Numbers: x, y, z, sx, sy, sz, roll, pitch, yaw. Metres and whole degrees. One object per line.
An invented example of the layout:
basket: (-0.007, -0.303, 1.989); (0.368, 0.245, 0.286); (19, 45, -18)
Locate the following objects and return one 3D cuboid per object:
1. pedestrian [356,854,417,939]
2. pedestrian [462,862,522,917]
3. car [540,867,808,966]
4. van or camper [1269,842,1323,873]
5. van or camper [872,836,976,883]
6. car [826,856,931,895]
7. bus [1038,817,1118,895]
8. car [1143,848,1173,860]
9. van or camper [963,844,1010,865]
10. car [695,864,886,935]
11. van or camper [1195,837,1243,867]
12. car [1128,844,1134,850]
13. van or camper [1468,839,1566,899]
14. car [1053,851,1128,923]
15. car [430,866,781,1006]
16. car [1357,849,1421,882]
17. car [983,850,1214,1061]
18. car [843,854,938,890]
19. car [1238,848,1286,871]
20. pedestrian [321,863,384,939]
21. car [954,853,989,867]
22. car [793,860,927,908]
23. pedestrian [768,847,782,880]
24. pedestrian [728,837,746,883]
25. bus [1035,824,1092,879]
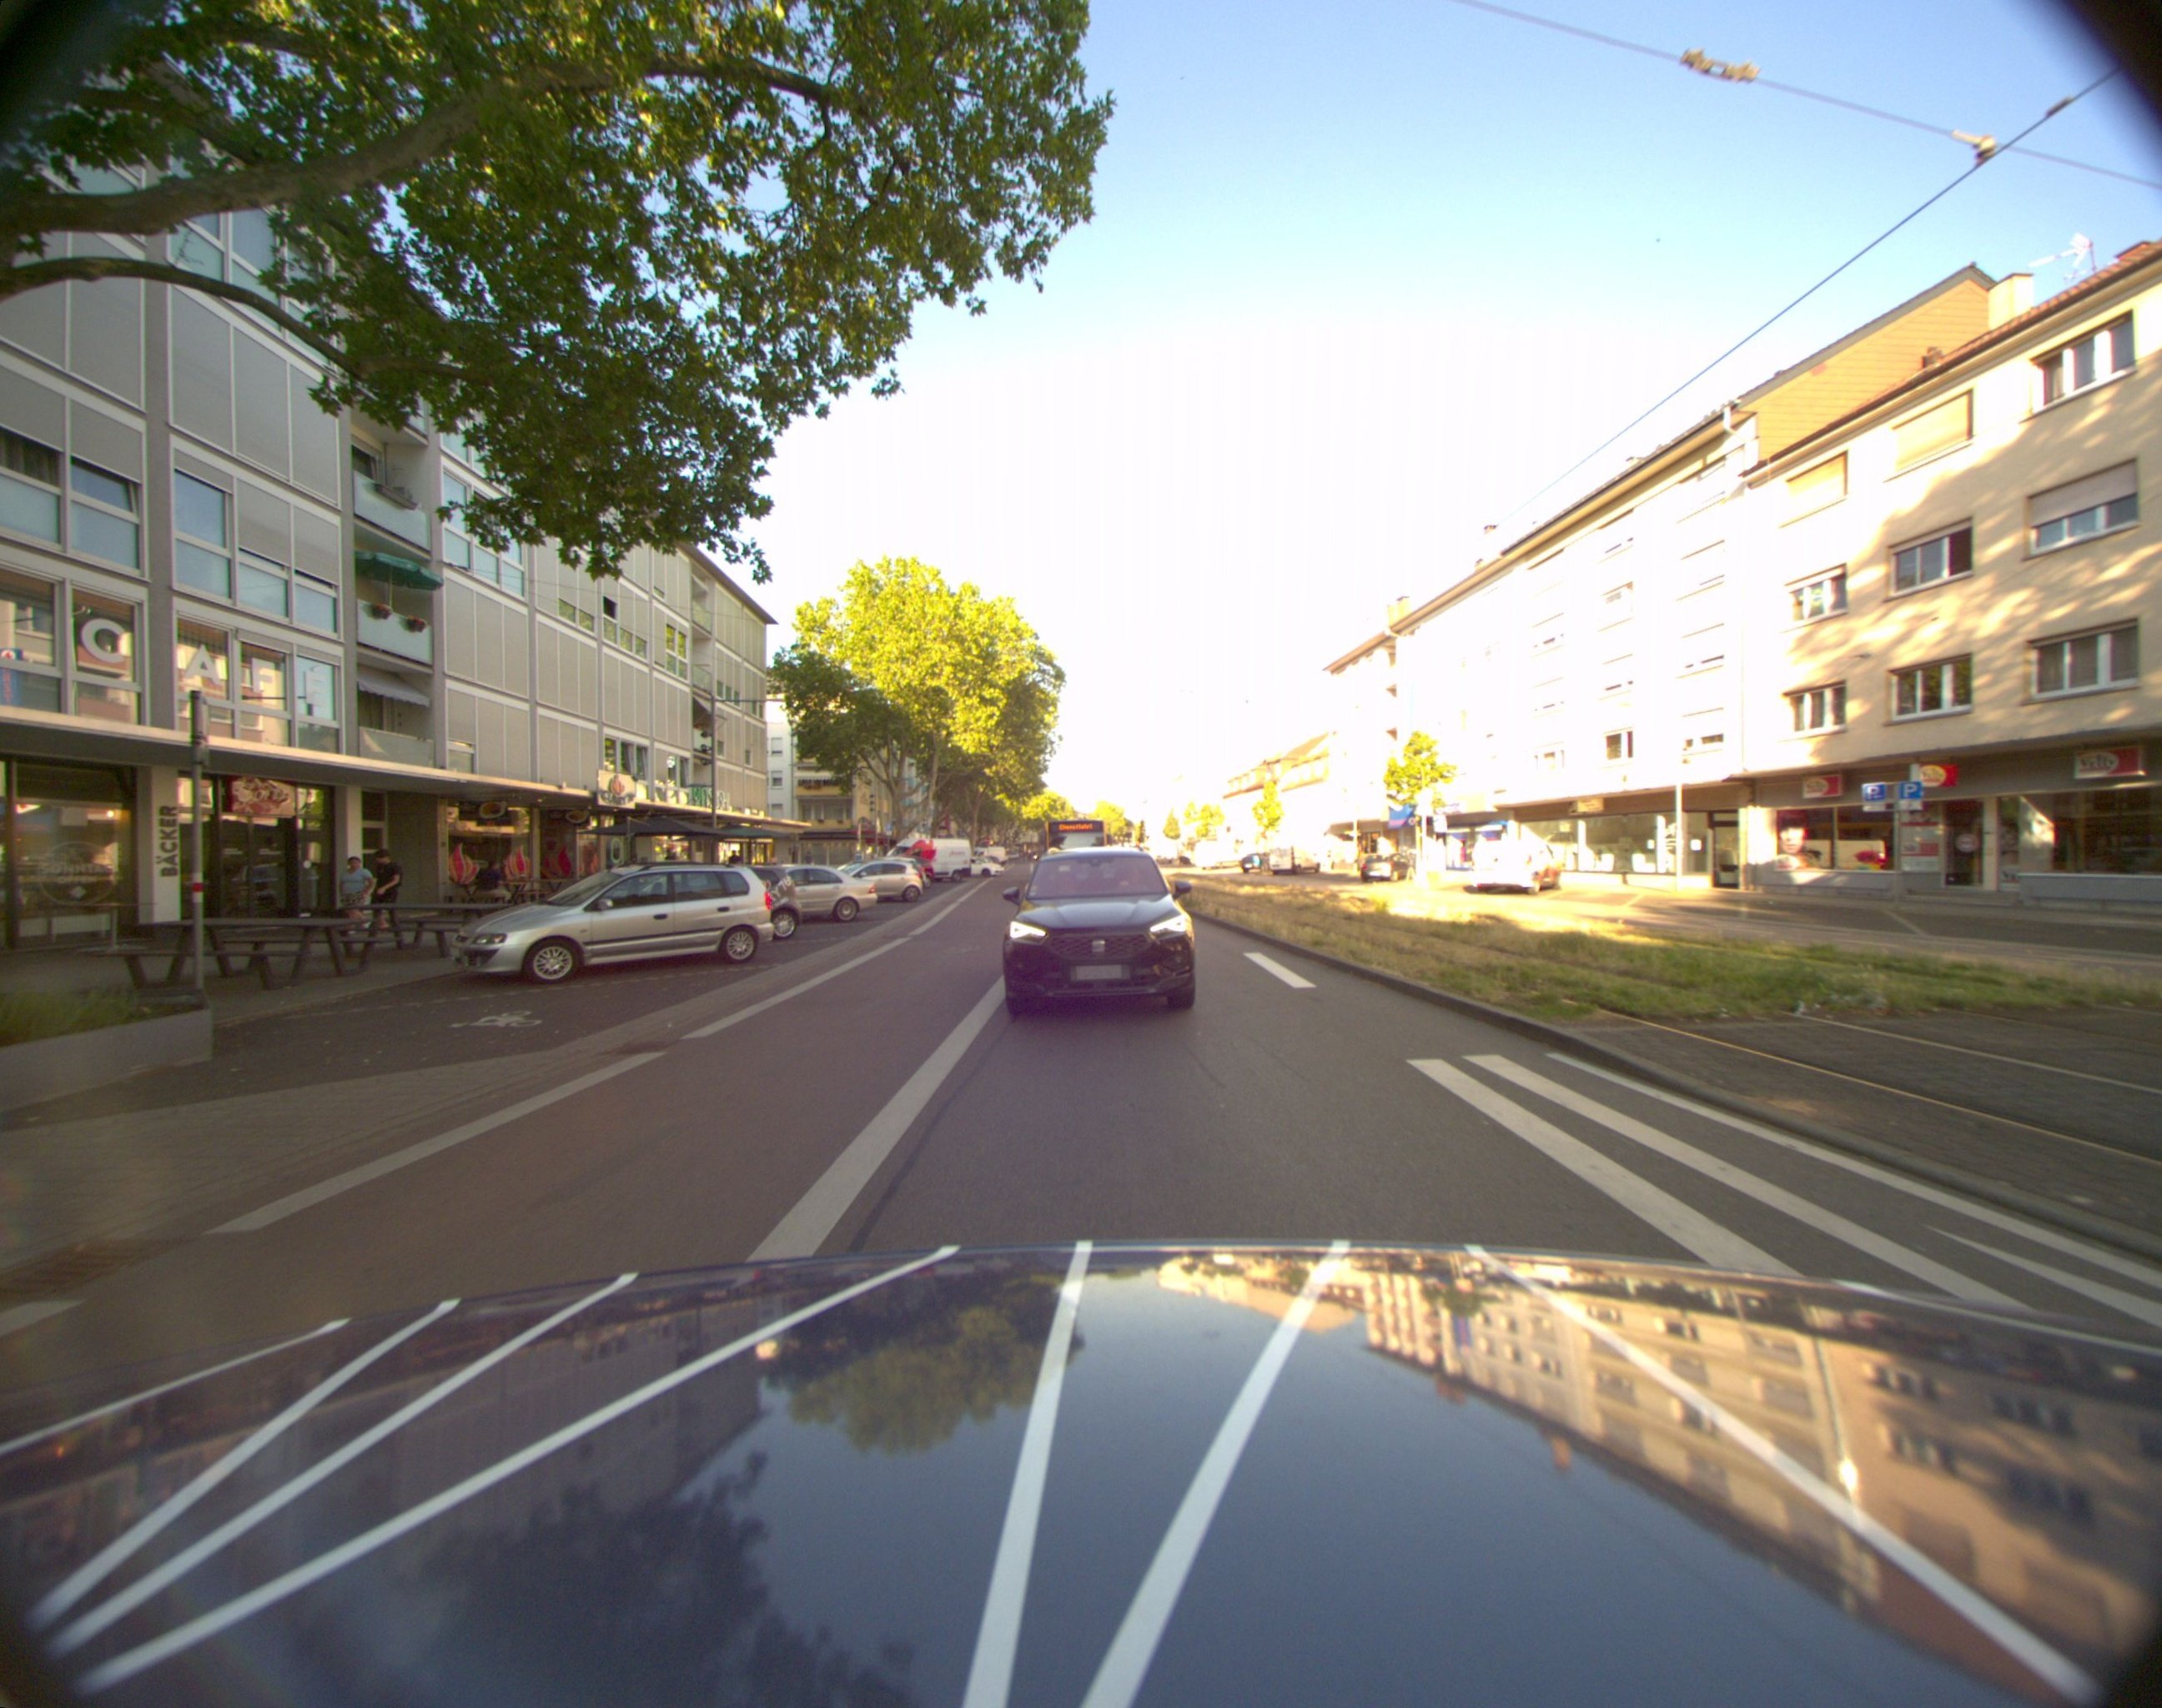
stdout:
pedestrian: (-13.315, 0.805, 14.588); (0.538, 1.582, 0.687); (2, 1, -4)
pedestrian: (-14.982, 0.883, 19.346); (0.750, 1.354, 0.962); (0, 1, 1)
car: (-7.432, 1.033, 14.210); (1.804, 1.498, 4.008); (0, 0, 39)
van or camper: (14.990, 0.216, 52.776); (1.795, 1.978, 4.460); (-2, 1, 42)
van or camper: (-8.776, 0.262, 42.760); (5.474, 2.455, 1.994); (-1, 1, -44)
car: (-8.527, 0.856, 32.161); (4.008, 1.514, 1.655); (0, 2, -44)
bus: (-0.456, -0.039, 36.221); (2.873, 2.962, 12.232); (-3, 1, -4)
car: (10.946, 0.009, 108.209); (3.921, 1.482, 1.766); (-3, 1, -27)
van or camper: (-11.167, 0.018, 89.938); (1.994, 2.455, 5.474); (0, 1, 44)
car: (-6.955, 1.021, 18.496); (1.655, 1.428, 4.008); (2, 2, 43)
van or camper: (13.454, -0.199, 73.558); (1.995, 2.652, 6.410); (-2, 1, 34)
car: (16.618, -2.243, 253.177); (1.869, 1.832, 3.826); (-1, 0, 2)
van or camper: (16.066, 0.494, 27.869); (1.946, 1.887, 4.824); (-2, 1, 44)
car: (0.217, 0.727, 18.864); (1.658, 1.571, 3.999); (-1, 0, 0)
car: (-6.791, 1.015, 11.223); (1.804, 1.597, 4.008); (0, 0, 39)
car: (15.938, 0.552, 39.201); (1.765, 1.482, 4.460); (-2, 1, 40)
car: (0.179, 0.820, 8.174); (1.808, 1.638, 4.000); (-3, 0, 1)
car: (-8.811, 0.788, 35.358); (4.008, 1.555, 1.655); (0, 2, -44)
car: (14.204, 0.428, 59.643); (1.874, 1.577, 4.007); (-2, 1, 43)
pedestrian: (-13.924, 0.880, 14.540); (0.538, 1.392, 0.687); (2, 1, -4)
car: (-11.319, 0.634, 78.899); (3.337, 1.339, 1.527); (0, 2, -44)
car: (-7.392, 0.951, 25.644); (4.008, 1.428, 1.655); (0, 2, -44)
pedestrian: (-15.139, 0.459, 37.560); (0.539, 1.582, 0.686); (1, 1, -17)
pedestrian: (-15.418, 0.269, 34.049); (0.552, 2.002, 0.577); (-3, 1, -18)
bus: (-1.310, -0.275, 48.460); (2.873, 2.962, 12.232); (-3, 1, -4)
